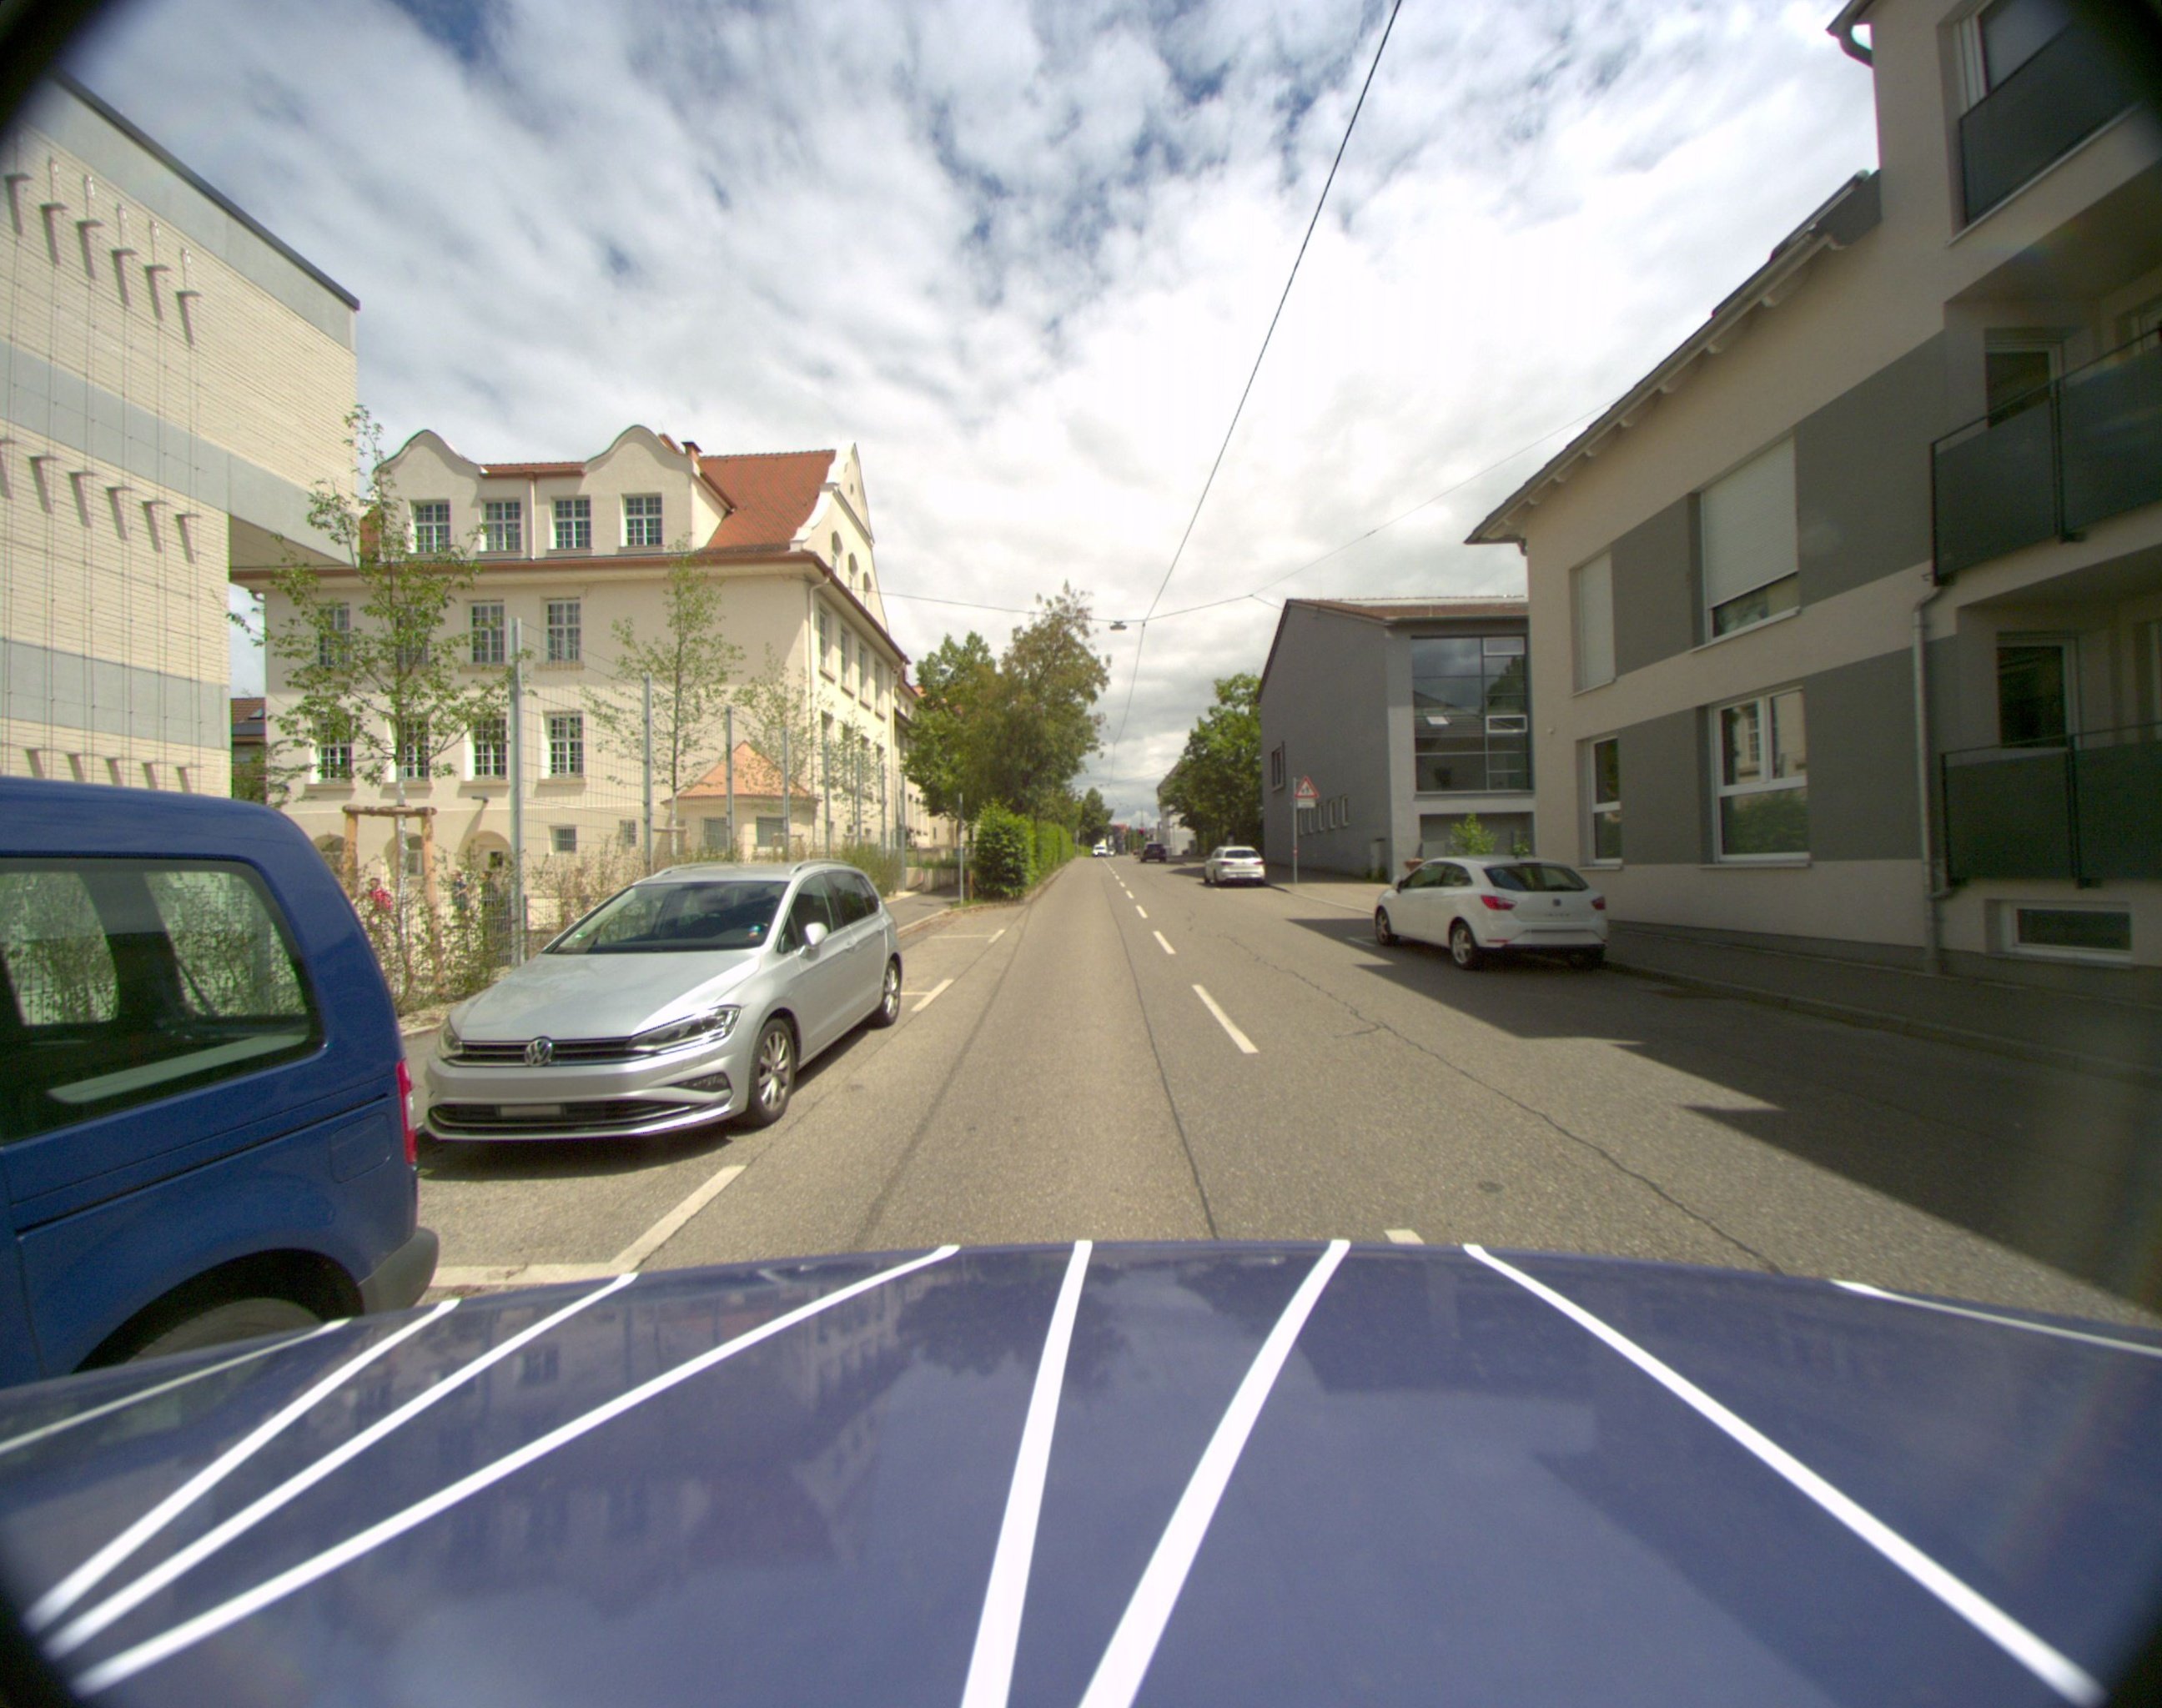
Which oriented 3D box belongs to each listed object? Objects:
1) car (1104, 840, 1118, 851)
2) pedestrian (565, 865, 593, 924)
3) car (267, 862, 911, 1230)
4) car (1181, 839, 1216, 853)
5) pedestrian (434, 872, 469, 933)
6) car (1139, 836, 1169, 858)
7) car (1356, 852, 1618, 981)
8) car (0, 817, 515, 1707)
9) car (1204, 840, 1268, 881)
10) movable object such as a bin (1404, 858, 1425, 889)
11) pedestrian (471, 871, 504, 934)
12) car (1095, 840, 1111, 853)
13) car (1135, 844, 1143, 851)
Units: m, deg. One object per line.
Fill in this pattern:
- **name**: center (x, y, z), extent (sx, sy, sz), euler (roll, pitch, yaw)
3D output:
- **car**: center (4.738, -1.304, 119.218), extent (1.794, 1.477, 4.002), euler (-3, -1, 7)
- **pedestrian**: center (-11.466, 0.920, 17.364), extent (0.371, 1.320, 0.318), euler (-2, 1, -3)
- **car**: center (-2.698, 0.896, 5.603), extent (1.790, 1.500, 4.364), euler (-2, 1, 1)
- **car**: center (14.297, -0.977, 92.747), extent (3.997, 1.468, 1.859), euler (-2, -1, 1)
- **pedestrian**: center (-14.073, 1.073, 16.989), extent (0.371, 1.320, 0.443), euler (-2, 1, -7)
- **car**: center (5.865, -0.555, 61.541), extent (1.800, 1.601, 4.645), euler (-2, 0, -1)
- **car**: center (5.375, 0.720, 10.645), extent (1.651, 1.410, 3.697), euler (-2, 1, 0)
- **car**: center (-2.822, 0.863, 0.189), extent (1.849, 1.757, 4.514), euler (-2, 1, 1)
- **car**: center (5.714, 0.222, 28.343), extent (1.701, 1.382, 3.866), euler (-1, 0, 2)
- **movable object such as a bin**: center (10.299, 0.590, 23.469), extent (0.455, 0.923, 0.399), euler (-1, 2, 0)
- **pedestrian**: center (-12.951, 1.051, 16.586), extent (0.371, 1.320, 0.351), euler (-2, 1, -7)
- **car**: center (3.056, -0.989, 103.982), extent (1.893, 1.718, 4.294), euler (-2, 0, 4)
- **car**: center (14.131, -1.652, 185.687), extent (1.794, 1.477, 4.002), euler (-3, -1, 7)
